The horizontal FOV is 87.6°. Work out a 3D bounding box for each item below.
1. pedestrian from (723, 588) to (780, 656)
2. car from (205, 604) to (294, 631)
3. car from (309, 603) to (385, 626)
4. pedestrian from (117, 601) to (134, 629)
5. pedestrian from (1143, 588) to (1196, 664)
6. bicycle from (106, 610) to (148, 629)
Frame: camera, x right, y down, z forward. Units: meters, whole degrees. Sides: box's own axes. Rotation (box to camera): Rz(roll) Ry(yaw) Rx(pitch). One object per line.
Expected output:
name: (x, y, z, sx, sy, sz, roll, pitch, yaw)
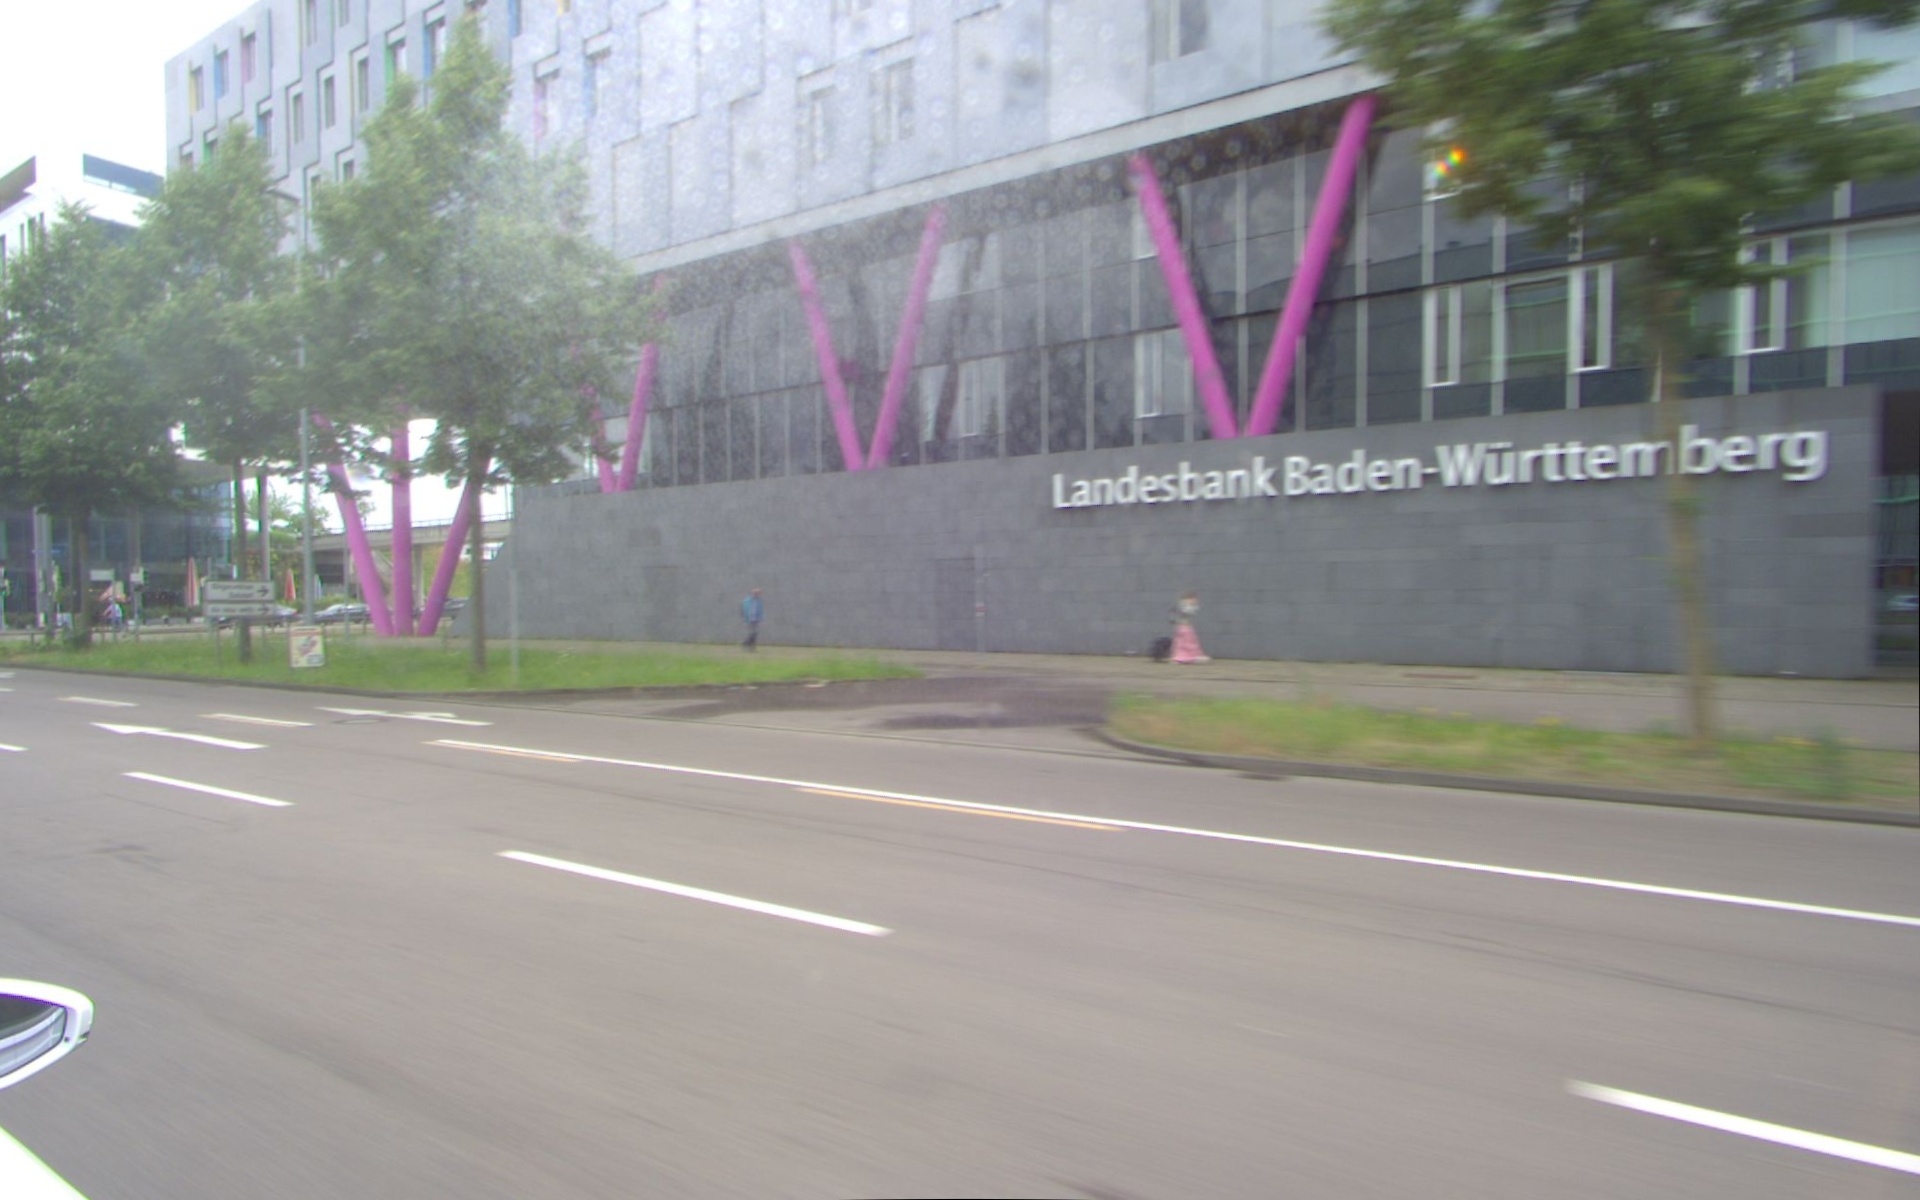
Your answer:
pedestrian: (-5.662, 0.573, 27.191, 1.120, 1.794, 1.049, 1, 2, 33)
car: (-44.974, 1.093, 63.469, 1.733, 1.636, 4.239, 0, 1, 34)
car: (-42.033, 0.985, 68.736, 1.733, 1.474, 4.070, 0, 1, 34)
pedestrian: (-49.714, 0.880, 59.641, 0.610, 1.626, 0.613, 1, 1, 35)
pedestrian: (4.543, 0.539, 21.709, 0.902, 1.604, 0.782, 1, 2, 33)
bicycle: (-49.666, 1.143, 59.718, 0.609, 1.100, 1.787, 0, 1, 34)
